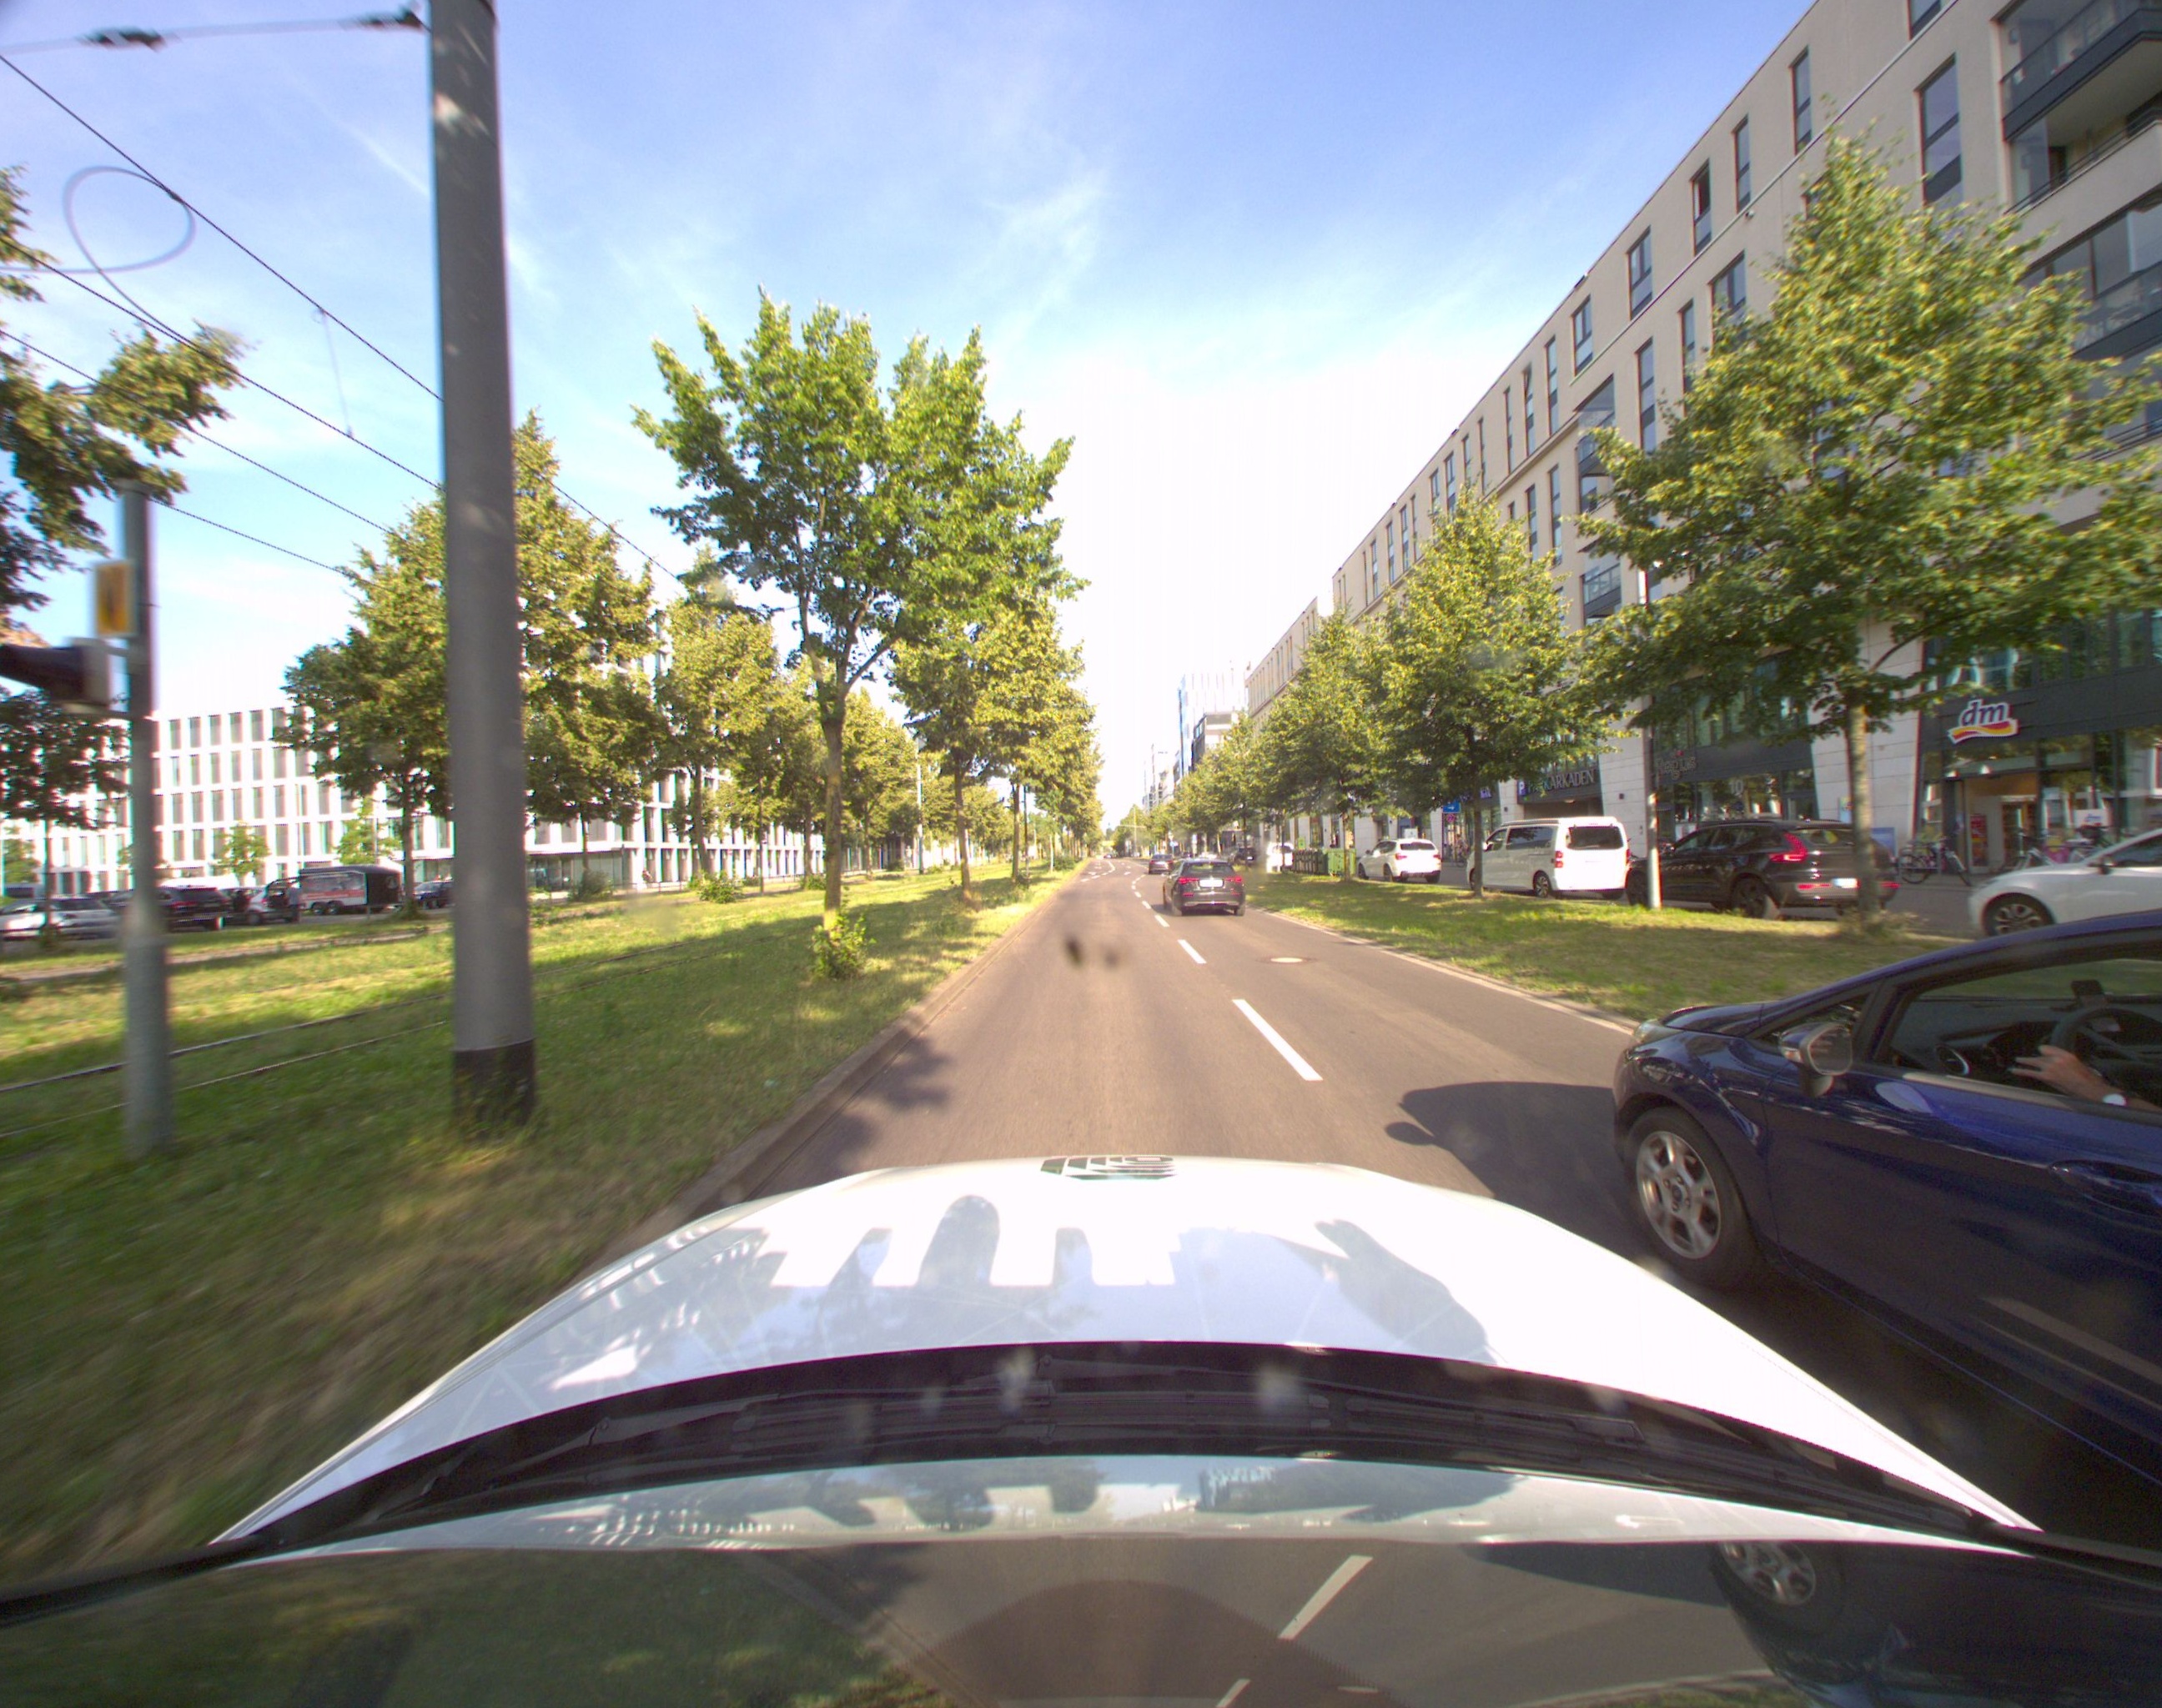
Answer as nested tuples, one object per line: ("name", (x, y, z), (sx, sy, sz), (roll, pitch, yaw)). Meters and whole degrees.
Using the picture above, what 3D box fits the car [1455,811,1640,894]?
("car", (11.796, -0.016, 21.104), (1.832, 1.876, 5.028), (0, 0, -1))

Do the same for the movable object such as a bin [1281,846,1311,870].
("movable object such as a bin", (11.547, 0.225, 43.717), (1.274, 1.291, 1.177), (0, -1, -2))

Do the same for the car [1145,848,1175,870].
("car", (5.590, 0.370, 58.052), (1.853, 1.524, 3.786), (0, 0, 1))

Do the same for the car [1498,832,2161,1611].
("car", (2.760, 0.673, 1.969), (1.554, 1.424, 3.908), (0, 0, 1))

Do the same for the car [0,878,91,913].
("car", (-70.141, 2.744, 54.554), (1.836, 2.158, 4.510), (0, 0, 13))

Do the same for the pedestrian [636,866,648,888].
("pedestrian", (-34.775, 1.843, 64.519), (0.565, 1.728, 0.691), (0, -1, 1))

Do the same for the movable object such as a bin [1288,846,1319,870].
("movable object such as a bin", (11.607, 0.198, 42.485), (1.274, 1.237, 1.190), (0, -1, -2))

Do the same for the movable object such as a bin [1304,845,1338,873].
("movable object such as a bin", (11.680, 0.255, 39.679), (1.274, 1.317, 1.190), (0, -1, -2))

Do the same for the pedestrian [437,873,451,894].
("pedestrian", (-51.032, 2.352, 65.210), (0.585, 1.629, 0.637), (4, 1, 25))

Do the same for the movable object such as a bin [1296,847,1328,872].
("movable object such as a bin", (11.630, 0.283, 41.058), (1.274, 1.237, 1.190), (0, -1, -2))

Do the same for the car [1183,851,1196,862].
("car", (14.104, 0.321, 106.367), (1.598, 1.370, 4.164), (0, 0, 6))

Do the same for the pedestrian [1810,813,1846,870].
("pedestrian", (20.718, -0.346, 22.599), (0.515, 1.574, 0.536), (0, -1, -19))

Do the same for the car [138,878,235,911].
("car", (-73.472, 3.285, 66.999), (1.791, 2.532, 5.052), (0, -1, 18))

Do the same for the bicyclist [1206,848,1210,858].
("bicyclist", (20.819, -0.173, 133.727), (0.573, 1.707, 0.540), (0, -1, -3))

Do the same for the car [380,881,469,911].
("car", (-34.520, 2.187, 42.947), (1.675, 1.393, 3.758), (0, 0, -2))

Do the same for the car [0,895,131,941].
("car", (-35.145, 2.169, 27.754), (3.554, 1.425, 1.726), (0, -1, 1))

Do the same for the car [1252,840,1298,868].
("car", (12.419, -0.008, 52.336), (1.822, 1.711, 4.293), (0, 0, -1))

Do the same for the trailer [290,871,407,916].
("trailer", (-35.014, 1.859, 38.971), (4.339, 2.054, 1.762), (0, -1, 8))

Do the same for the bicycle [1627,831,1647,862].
("bicycle", (19.536, -0.261, 28.616), (0.344, 1.074, 1.522), (-1, -1, 42))

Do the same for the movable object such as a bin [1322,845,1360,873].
("movable object such as a bin", (11.762, 0.207, 36.827), (1.385, 1.237, 1.343), (-1, -1, 28))

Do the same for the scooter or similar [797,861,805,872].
("scooter or similar", (-33.896, 1.523, 98.634), (0.333, 1.226, 1.304), (0, -1, 15))

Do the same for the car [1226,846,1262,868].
("car", (12.877, 0.220, 64.471), (1.891, 1.708, 4.677), (0, 1, 0))

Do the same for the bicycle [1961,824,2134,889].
("bicycle", (18.951, 0.059, 16.041), (2.081, 1.099, 0.423), (-6, -1, 36))

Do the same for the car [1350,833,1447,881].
("car", (12.065, 0.115, 31.322), (1.725, 1.630, 4.847), (-2, 0, -1))

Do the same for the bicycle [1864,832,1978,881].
("bicycle", (18.852, 0.058, 18.352), (0.417, 1.000, 2.044), (-5, -1, 2))

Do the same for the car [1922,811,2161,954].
("car", (11.459, 0.282, 8.210), (1.611, 1.412, 4.165), (0, 0, -1))

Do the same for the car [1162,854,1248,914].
("car", (3.132, 0.723, 21.250), (1.767, 1.424, 3.962), (0, 0, 2))

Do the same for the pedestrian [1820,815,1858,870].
("pedestrian", (21.278, -0.329, 22.876), (0.514, 1.522, 0.594), (0, -1, -16))

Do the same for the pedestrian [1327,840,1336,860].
("pedestrian", (21.843, -0.347, 71.029), (0.535, 1.763, 0.646), (0, -1, 1))

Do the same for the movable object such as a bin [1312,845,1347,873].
("movable object such as a bin", (11.692, 0.246, 38.332), (1.274, 1.302, 1.190), (0, -1, -2))

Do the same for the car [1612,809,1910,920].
("car", (11.545, 0.171, 14.308), (1.721, 1.650, 4.341), (0, 0, 2))

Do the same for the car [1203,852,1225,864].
("car", (13.856, 0.438, 85.263), (1.702, 1.242, 3.905), (0, 0, 0))

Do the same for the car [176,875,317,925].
("car", (-34.233, 1.851, 33.479), (3.977, 1.947, 1.758), (0, -1, 1))

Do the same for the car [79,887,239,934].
("car", (-34.275, 2.075, 30.334), (3.977, 1.643, 1.758), (0, -1, 1))

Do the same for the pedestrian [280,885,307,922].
("pedestrian", (-32.404, 2.043, 33.522), (0.520, 1.480, 0.568), (0, -1, 0))
